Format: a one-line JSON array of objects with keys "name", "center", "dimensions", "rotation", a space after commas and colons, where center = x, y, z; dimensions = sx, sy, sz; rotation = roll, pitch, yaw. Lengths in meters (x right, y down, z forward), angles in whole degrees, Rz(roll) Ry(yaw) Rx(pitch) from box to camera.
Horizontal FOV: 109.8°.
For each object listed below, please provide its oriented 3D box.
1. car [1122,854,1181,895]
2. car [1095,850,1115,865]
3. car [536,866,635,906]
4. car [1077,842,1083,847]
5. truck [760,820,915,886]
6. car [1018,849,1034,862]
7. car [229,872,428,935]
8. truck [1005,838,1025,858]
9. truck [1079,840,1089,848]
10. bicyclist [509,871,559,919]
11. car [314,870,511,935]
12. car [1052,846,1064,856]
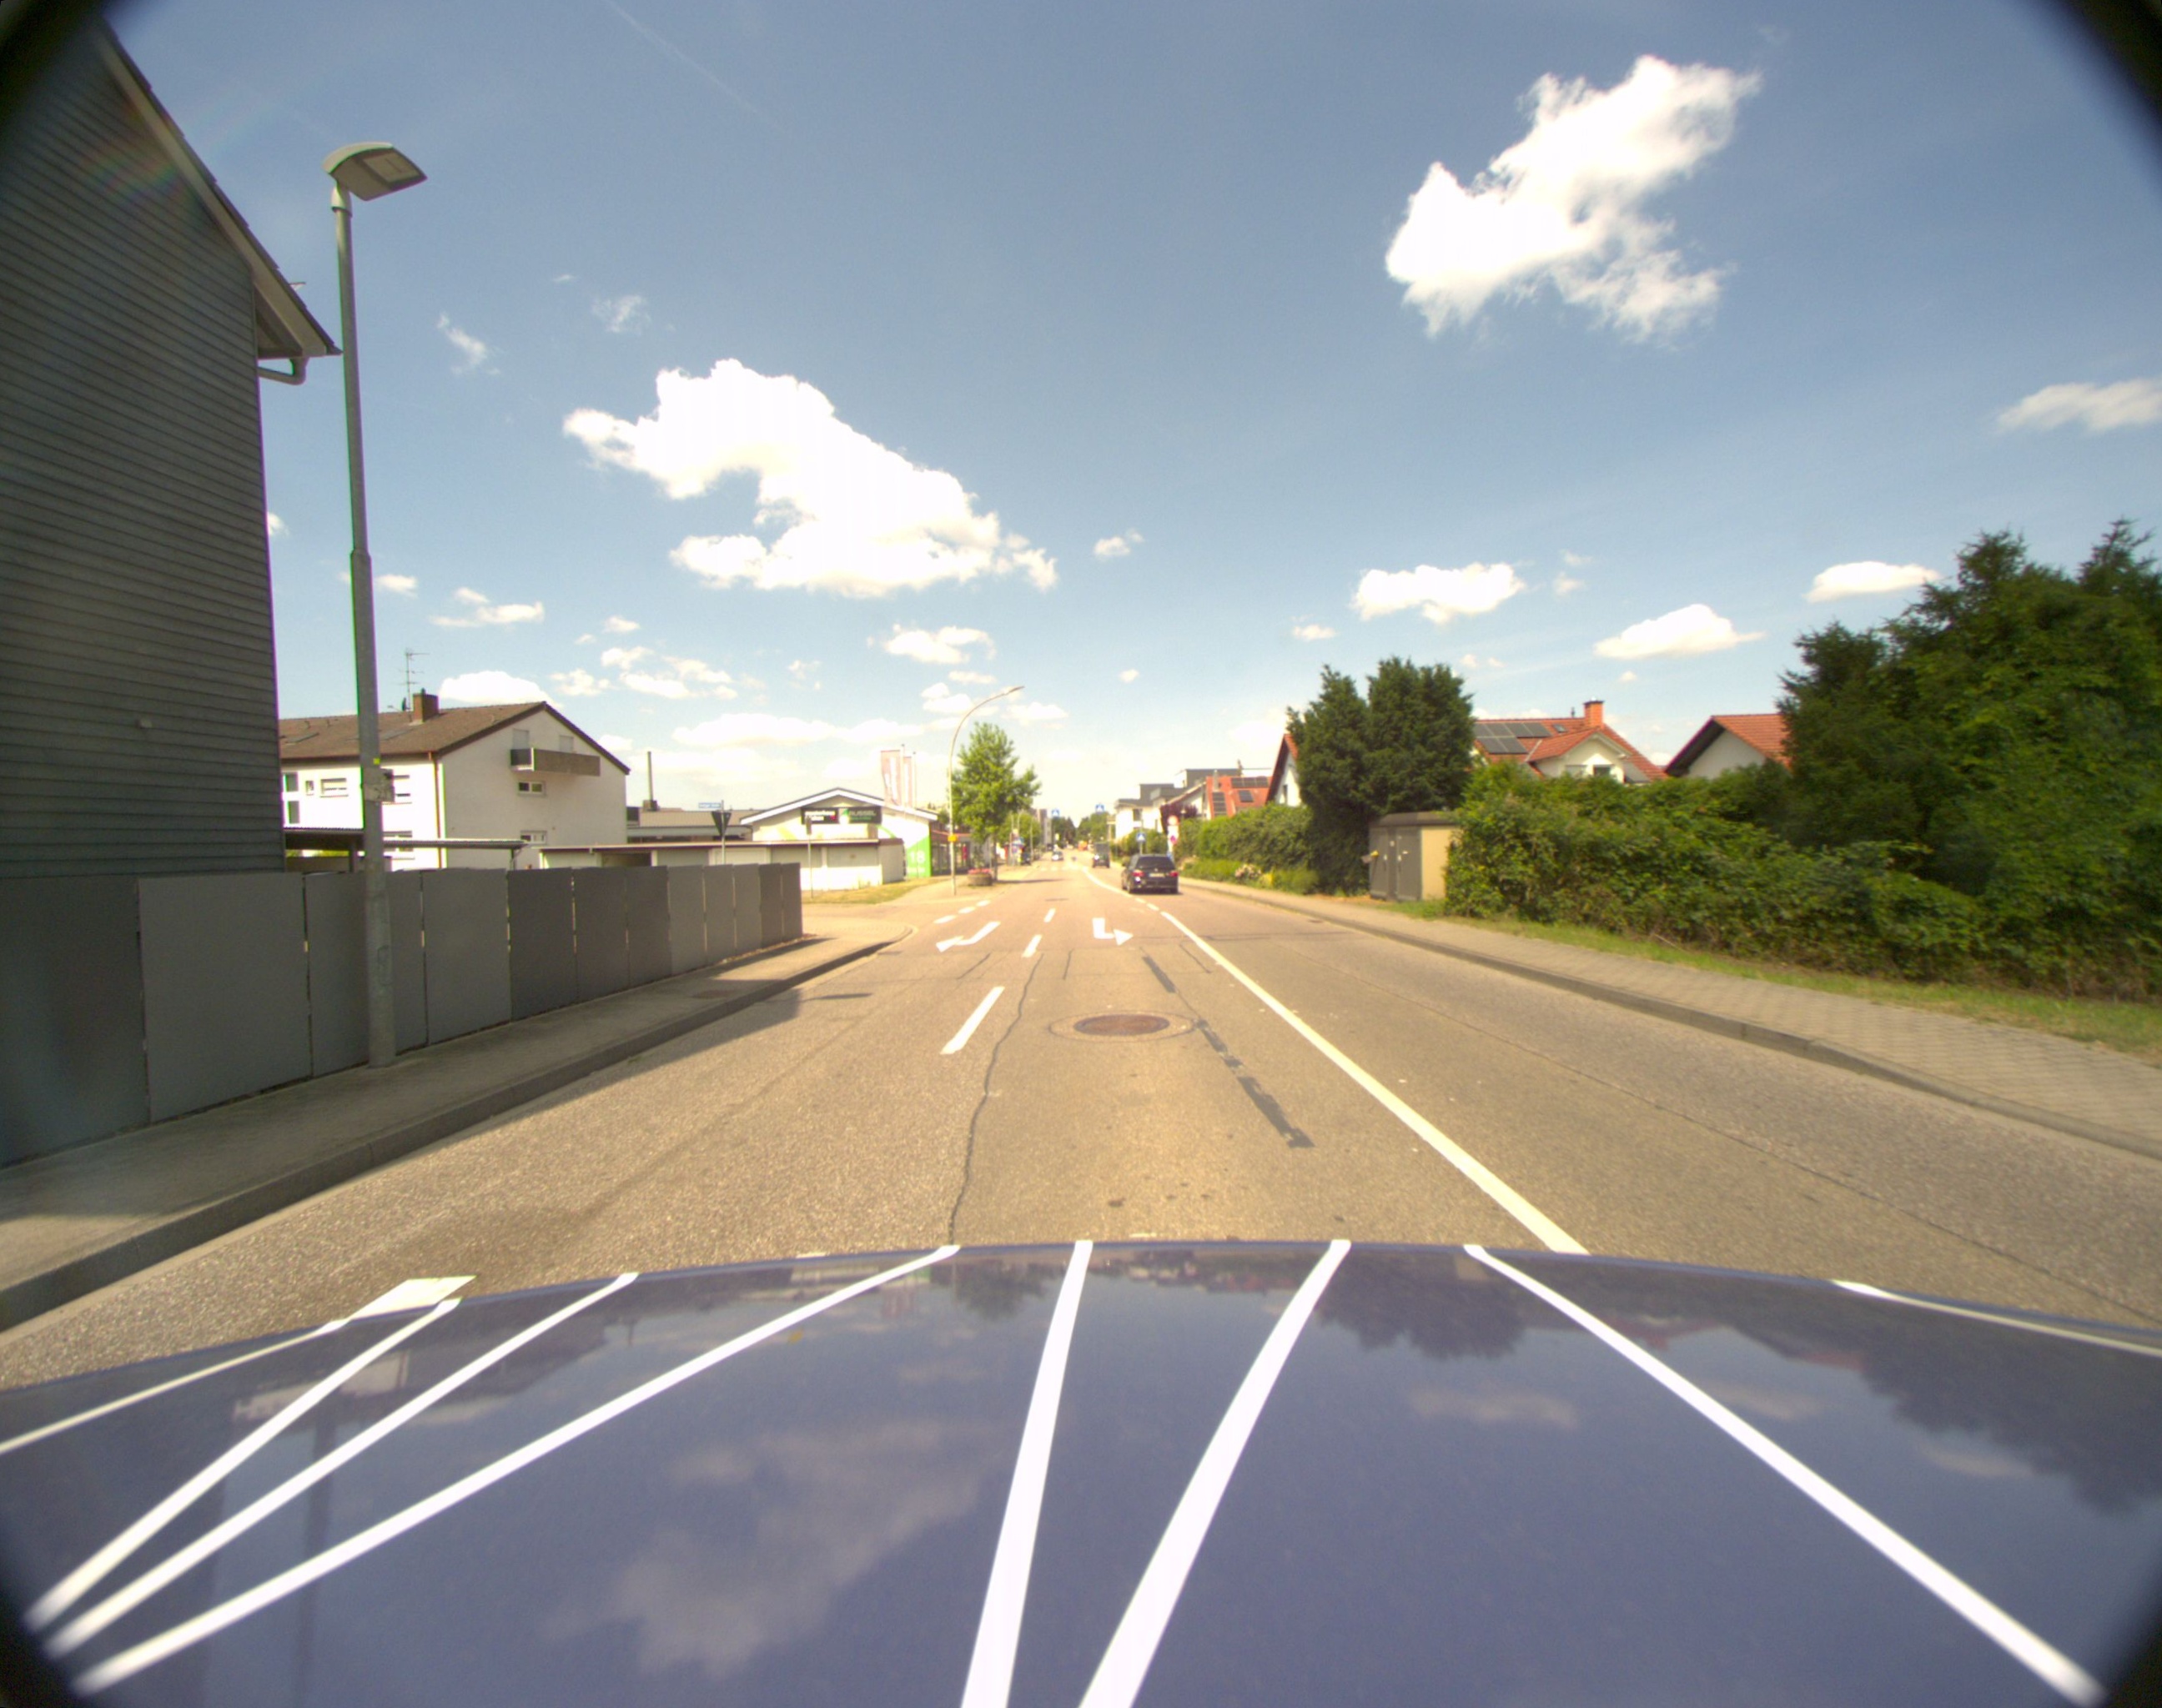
[{"name": "car", "center": [2.622, 0.725, 29.296], "dimensions": [1.868, 1.434, 4.670], "rotation": [0, 1, 0]}, {"name": "car", "center": [2.293, 0.312, 72.581], "dimensions": [1.785, 1.425, 3.871], "rotation": [0, 0, -1]}, {"name": "car", "center": [-22.230, 1.391, 34.280], "dimensions": [1.679, 1.494, 4.131], "rotation": [-2, 1, 0]}, {"name": "car", "center": [-0.376, -2.894, 232.115], "dimensions": [1.799, 1.480, 3.613], "rotation": [0, 1, 1]}, {"name": "truck", "center": [-14.368, -0.119, 45.272], "dimensions": [8.192, 3.553, 2.676], "rotation": [-2, 2, -2]}, {"name": "car", "center": [-6.539, 0.171, 89.870], "dimensions": [1.729, 1.484, 3.758], "rotation": [0, 1, -2]}, {"name": "car", "center": [-21.052, 1.329, 21.511], "dimensions": [1.741, 1.577, 3.854], "rotation": [-1, -1, 2]}, {"name": "truck", "center": [-9.145, -0.820, 104.786], "dimensions": [2.580, 2.746, 6.329], "rotation": [0, 1, -7]}, {"name": "truck", "center": [0.993, -3.301, 246.003], "dimensions": [2.864, 2.695, 6.791], "rotation": [0, 1, 2]}, {"name": "bicyclist", "center": [-19.432, 1.448, 26.997], "dimensions": [1.111, 1.620, 0.805], "rotation": [-2, 1, -2]}, {"name": "car", "center": [-18.571, 1.280, 21.420], "dimensions": [1.741, 1.638, 4.217], "rotation": [-1, -1, 2]}, {"name": "car", "center": [-3.452, -0.491, 115.624], "dimensions": [1.729, 1.484, 3.759], "rotation": [0, 1, -1]}]
